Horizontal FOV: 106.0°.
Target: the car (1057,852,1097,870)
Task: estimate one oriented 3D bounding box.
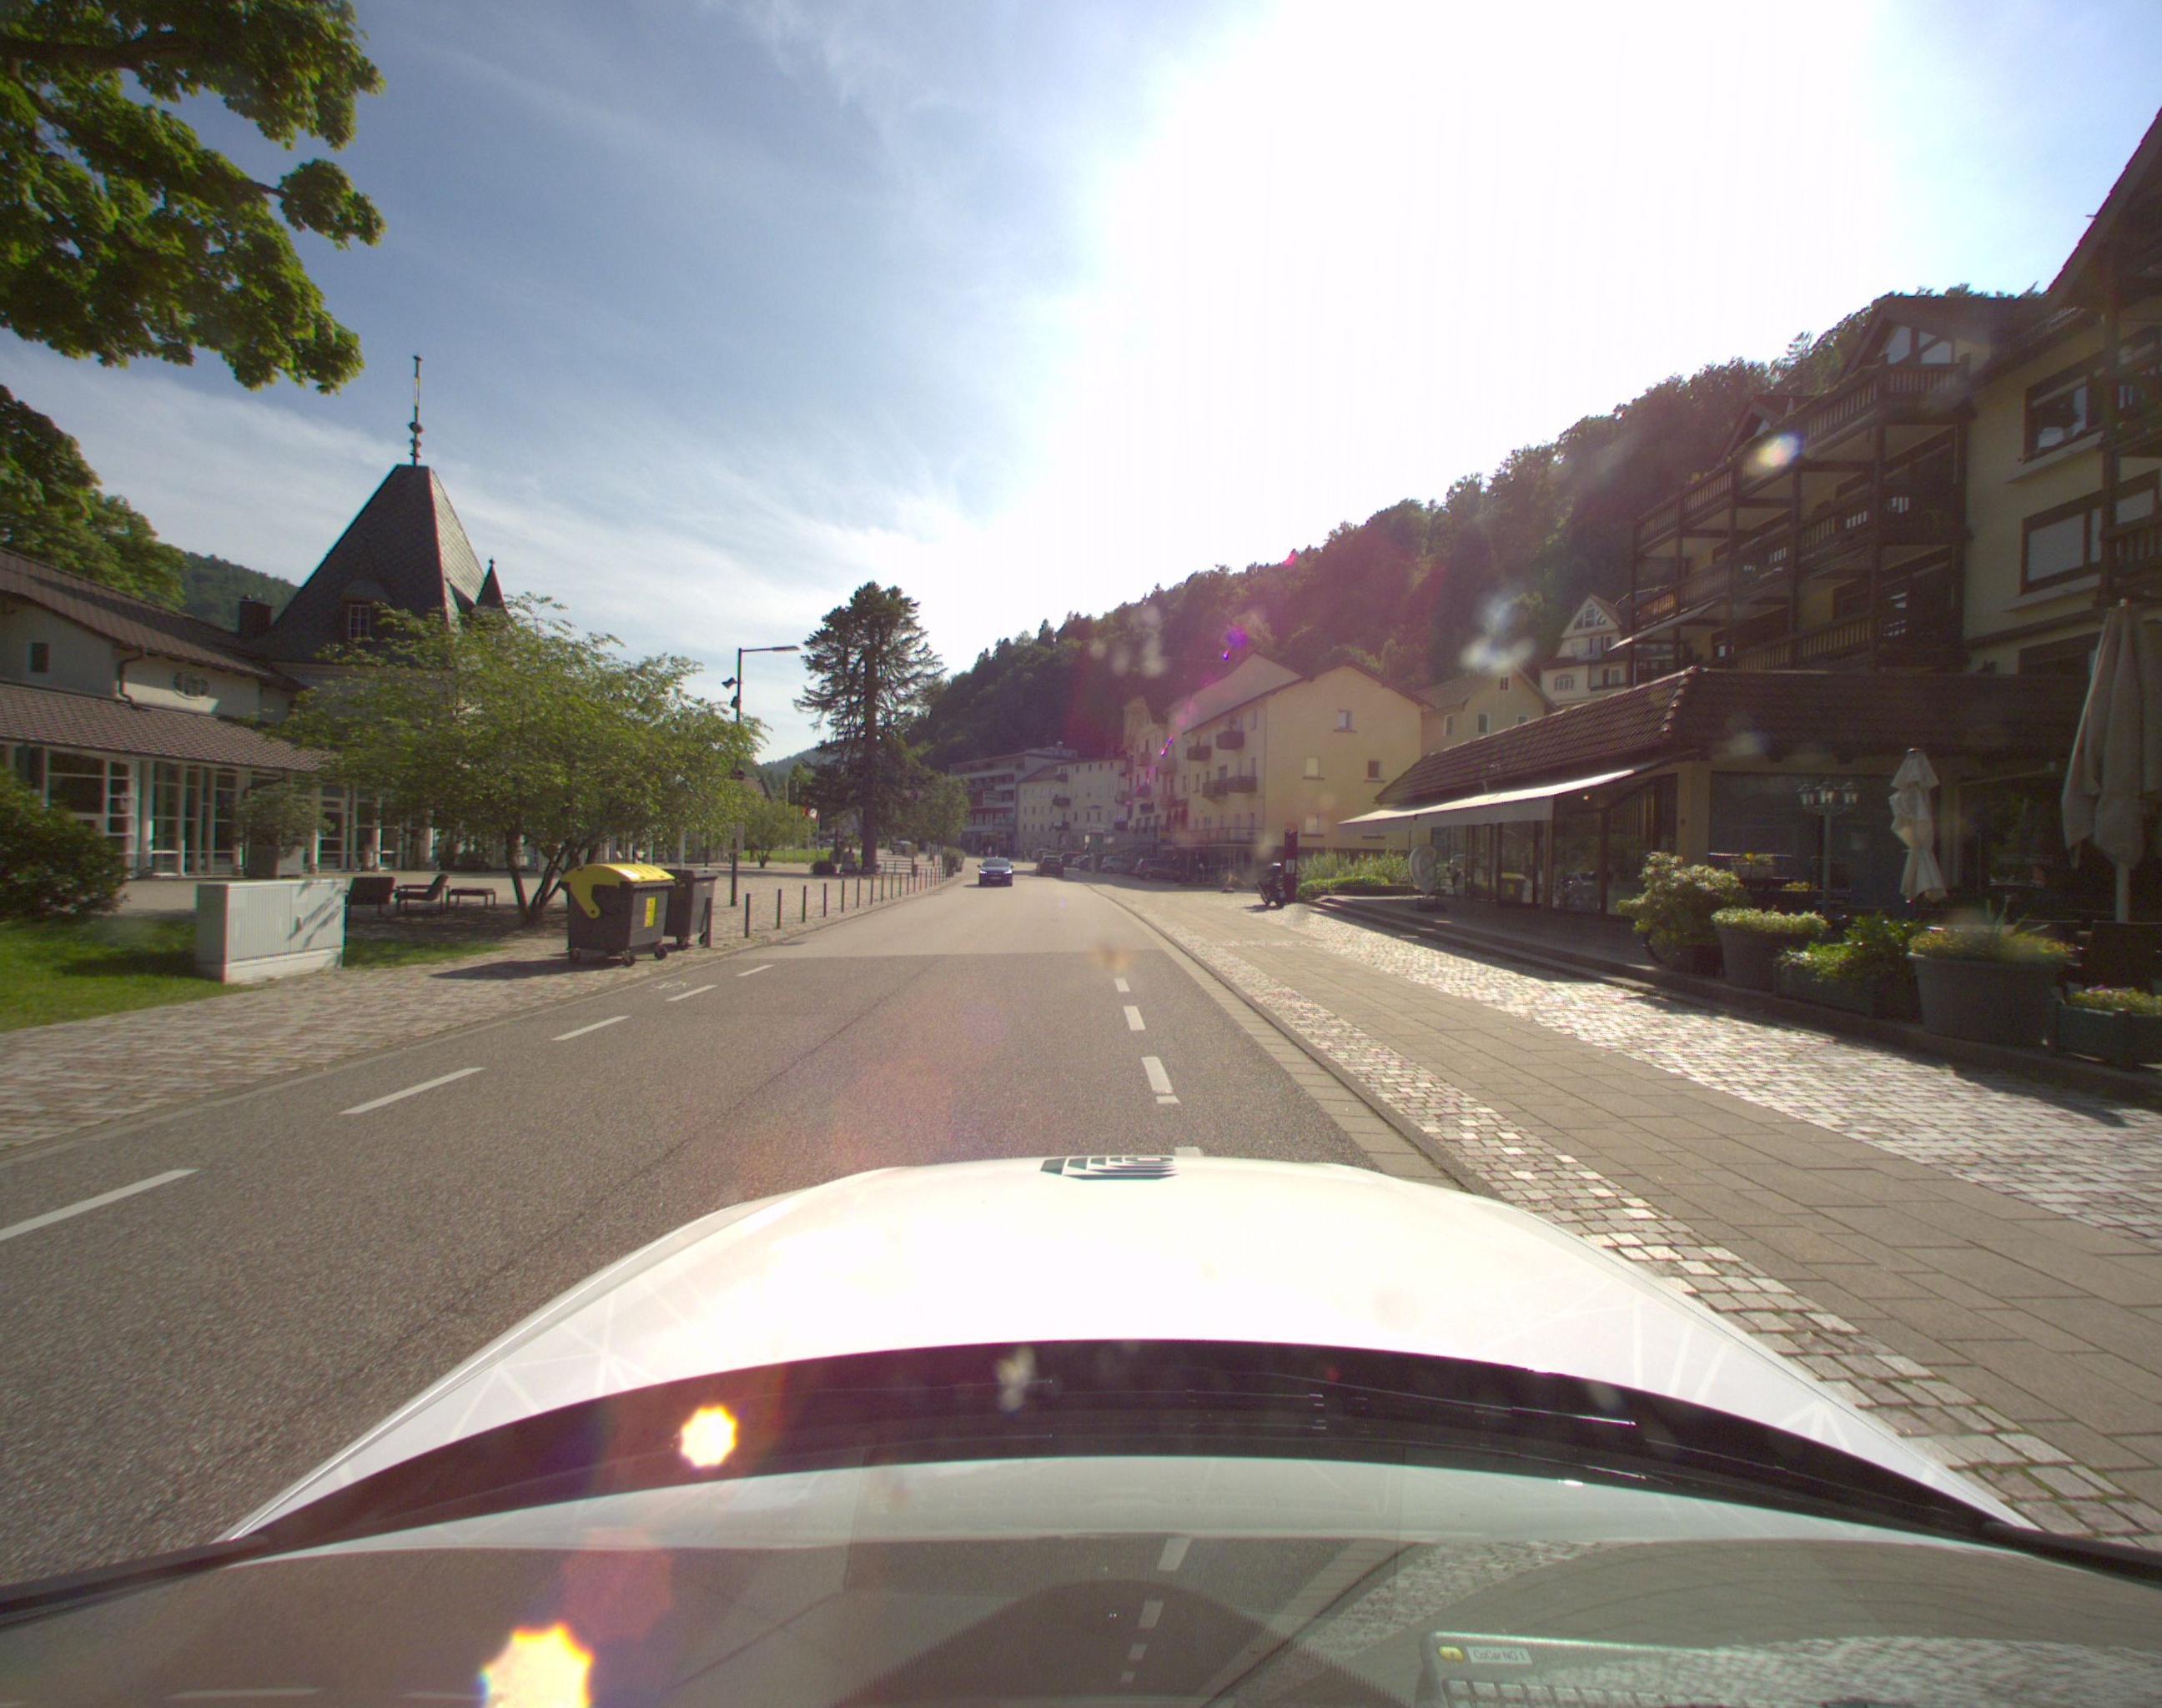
[{"bbox_3d":[-0.452,0.742,89.425,4.081,1.666,1.768,5,0,-8],"label":"car"}]

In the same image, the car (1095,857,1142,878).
[{"bbox_3d":[3.324,1.204,72.881,3.907,1.589,1.770,4,0,-8],"label":"car"}]

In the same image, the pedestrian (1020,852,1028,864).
[{"bbox_3d":[-7.094,0.485,101.187,0.740,1.442,0.626,0,1,-35],"label":"pedestrian"}]

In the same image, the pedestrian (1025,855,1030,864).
[{"bbox_3d":[-6.707,0.685,101.517,0.420,1.002,0.525,0,1,-35],"label":"pedestrian"}]

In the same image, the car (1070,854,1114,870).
[{"bbox_3d":[1.124,0.859,84.731,4.351,1.461,1.769,3,-2,-6],"label":"car"}]

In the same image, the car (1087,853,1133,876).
[{"bbox_3d":[2.633,1.006,75.587,3.907,1.804,1.852,5,-1,-8],"label":"car"}]

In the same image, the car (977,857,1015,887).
[{"bbox_3d":[-4.464,0.918,43.432,1.737,1.462,4.183,0,0,-2],"label":"car"}]

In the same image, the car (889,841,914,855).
[{"bbox_3d":[-26.637,-0.865,120.808,1.869,1.953,4.962,0,0,-36],"label":"car"}]

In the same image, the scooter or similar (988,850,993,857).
[{"bbox_3d":[-12.975,-0.026,116.675,0.600,0.950,0.470,2,0,-31],"label":"scooter or similar"}]

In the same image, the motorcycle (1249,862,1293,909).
[{"bbox_3d":[5.660,0.905,24.366,0.695,1.296,2.210,-1,0,-2],"label":"motorcycle"}]

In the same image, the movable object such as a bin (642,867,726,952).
[{"bbox_3d":[-6.823,0.930,14.080,0.753,1.341,1.294,3,0,-1],"label":"movable object such as a bin"}]

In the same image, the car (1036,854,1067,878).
[{"bbox_3d":[-2.242,0.875,60.996,1.727,1.574,3.741,3,2,-10],"label":"car"}]

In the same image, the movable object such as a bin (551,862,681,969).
[{"bbox_3d":[-6.858,0.876,12.115,1.075,1.427,1.376,3,0,-1],"label":"movable object such as a bin"}]

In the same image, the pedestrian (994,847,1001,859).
[{"bbox_3d":[-12.048,-0.096,117.170,0.673,1.728,0.701,2,0,-31],"label":"pedestrian"}]

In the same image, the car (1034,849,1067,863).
[{"bbox_3d":[-3.956,0.250,104.591,3.884,1.549,1.756,-1,3,-29],"label":"car"}]

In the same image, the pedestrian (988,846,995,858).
[{"bbox_3d":[-12.867,-0.294,116.525,0.762,1.594,0.622,2,0,-31],"label":"pedestrian"}]

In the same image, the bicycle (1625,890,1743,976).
[{"bbox_3d":[7.137,0.898,9.716,0.394,0.864,1.619,1,0,7],"label":"bicycle"}]

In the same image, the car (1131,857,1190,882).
[{"bbox_3d":[5.788,1.117,59.220,3.860,1.554,1.754,4,0,-11],"label":"car"}]

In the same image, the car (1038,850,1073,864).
[{"bbox_3d":[-3.206,0.382,101.518,4.033,1.516,1.756,-1,3,-29],"label":"car"}]

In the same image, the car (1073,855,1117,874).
[{"bbox_3d":[1.310,0.992,78.250,3.907,1.461,1.731,4,0,-8],"label":"car"}]

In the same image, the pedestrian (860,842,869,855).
[{"bbox_3d":[-28.915,-0.731,108.767,0.872,1.815,0.685,2,0,-30],"label":"pedestrian"}]
